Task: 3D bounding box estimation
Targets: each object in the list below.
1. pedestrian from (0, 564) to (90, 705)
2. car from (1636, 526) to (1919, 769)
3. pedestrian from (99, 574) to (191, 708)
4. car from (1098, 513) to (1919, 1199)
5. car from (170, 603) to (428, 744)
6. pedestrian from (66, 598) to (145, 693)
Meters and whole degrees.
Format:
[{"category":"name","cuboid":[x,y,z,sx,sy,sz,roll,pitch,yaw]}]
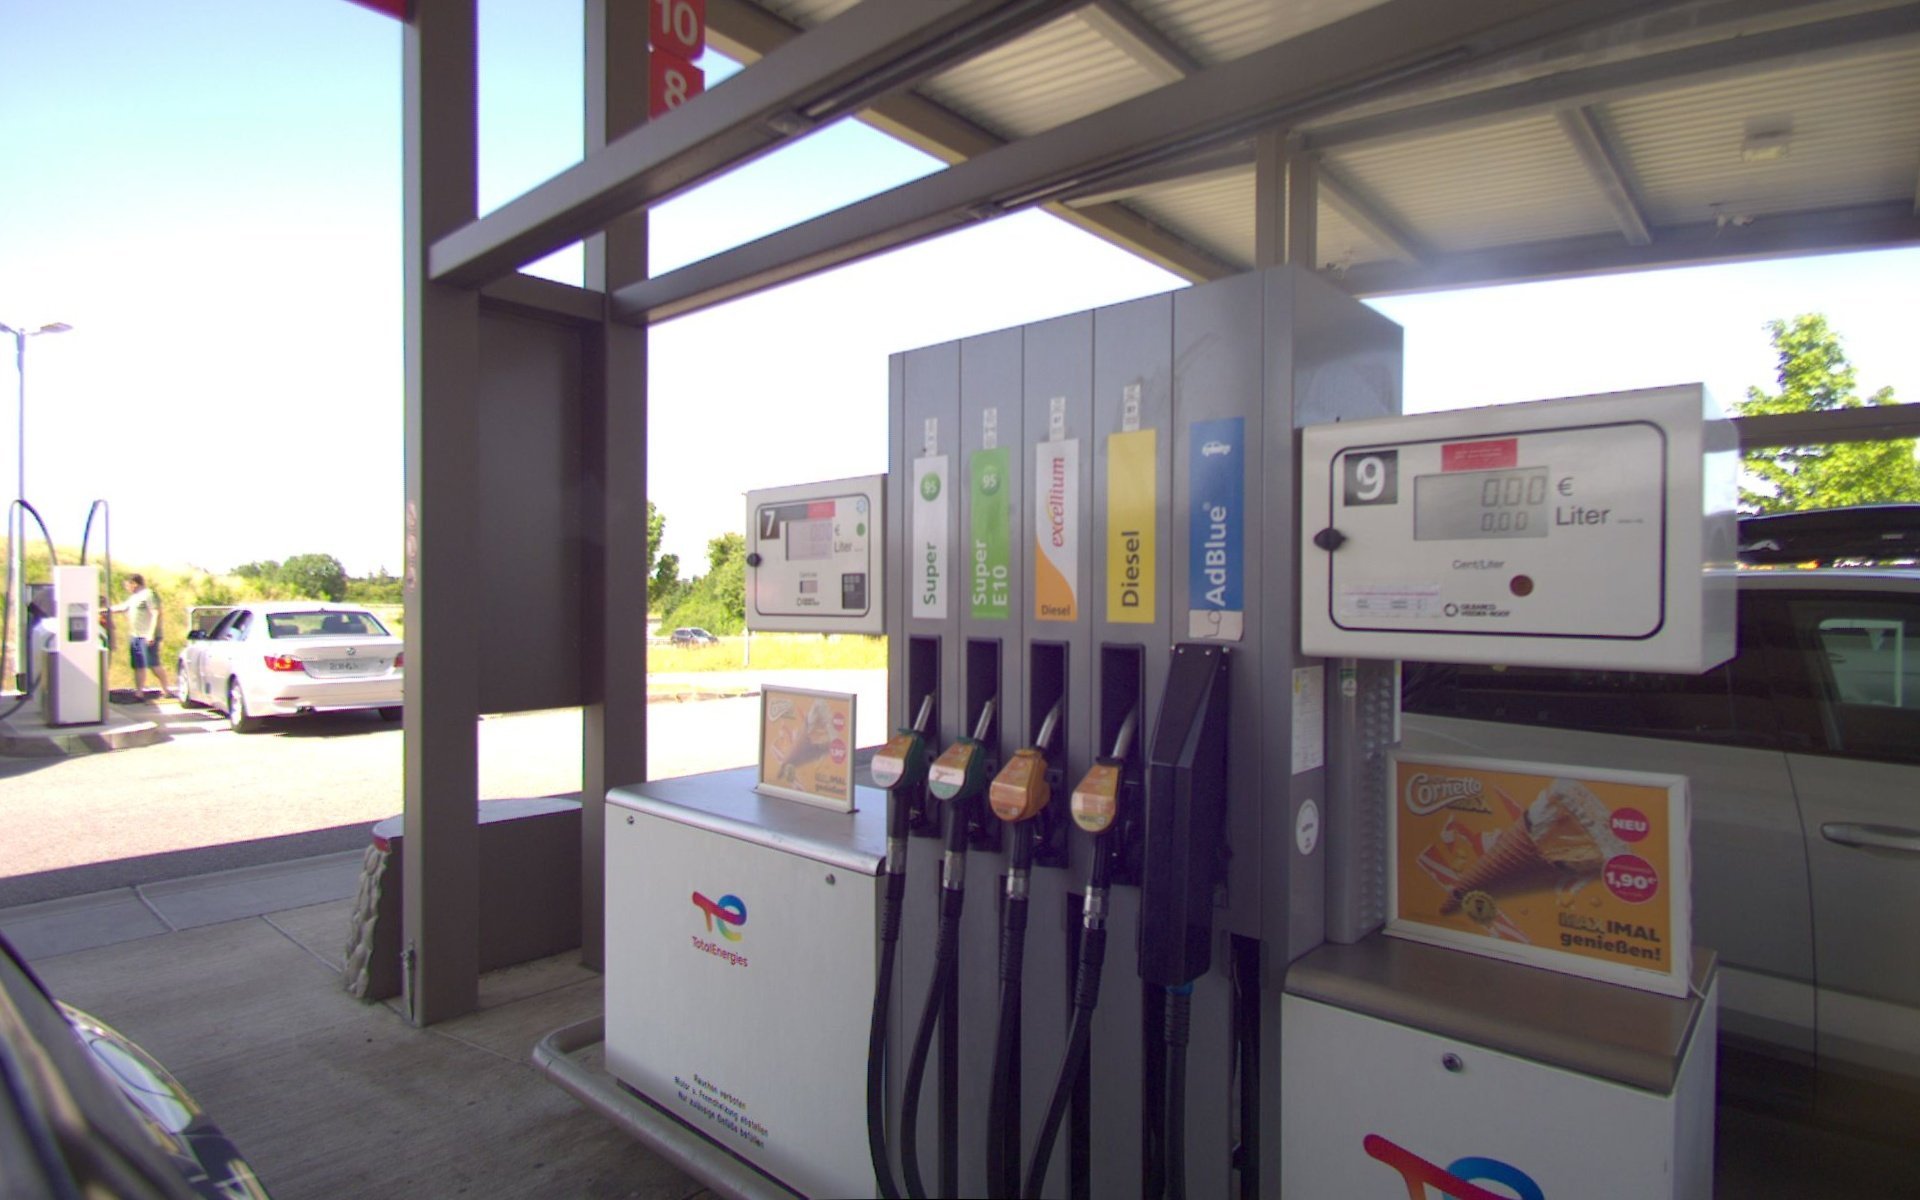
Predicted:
[{"category":"pedestrian","cuboid":[-12.013,0.441,13.141,0.833,1.783,0.709,0,-1,-2]},{"category":"car","cuboid":[7.761,0.324,7.427,4.530,1.700,1.842,-1,-1,38]},{"category":"pedestrian","cuboid":[-11.236,0.548,13.960,0.708,1.762,0.835,-1,-1,36]},{"category":"car","cuboid":[2.654,0.599,2.642,4.325,1.553,1.761,-1,-1,43]},{"category":"car","cuboid":[-8.467,0.785,12.798,4.322,1.439,1.768,1,0,43]},{"category":"pedestrian","cuboid":[-12.124,0.633,14.371,0.569,1.316,0.669,0,-1,-4]}]
